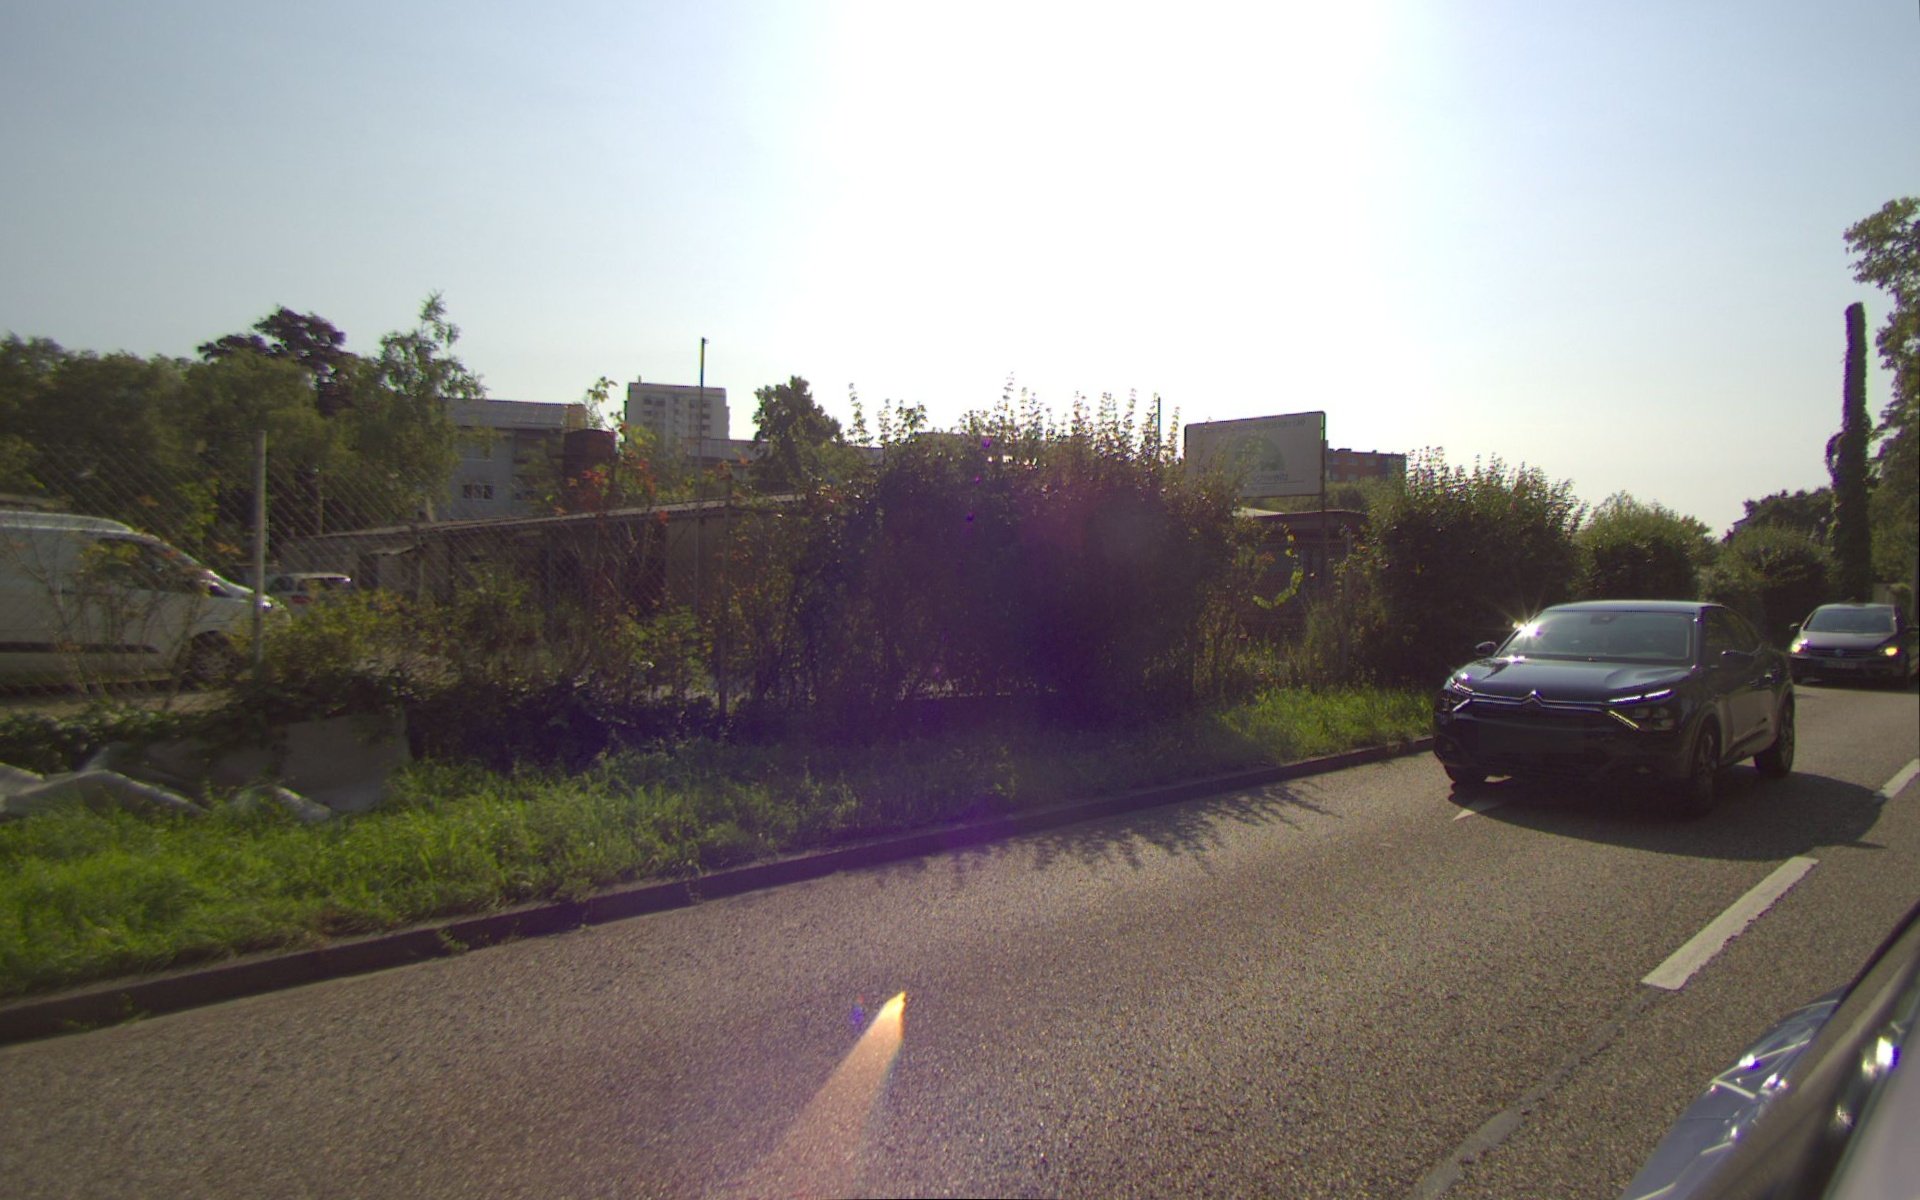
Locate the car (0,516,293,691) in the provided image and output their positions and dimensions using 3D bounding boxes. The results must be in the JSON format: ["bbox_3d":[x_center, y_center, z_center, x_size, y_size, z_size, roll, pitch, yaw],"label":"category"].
[{"bbox_3d":[-10.963,0.027,12.256,4.591,1.949,1.747,0,1,-44],"label":"car"}]

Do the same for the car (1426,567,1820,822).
[{"bbox_3d":[5.667,0.570,8.432,4.180,1.608,1.648,0,2,-41],"label":"car"}]

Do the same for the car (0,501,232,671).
[{"bbox_3d":[-13.132,-0.199,14.153,4.591,2.251,1.747,0,1,-44],"label":"car"}]

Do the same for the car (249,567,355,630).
[{"bbox_3d":[-17.996,-0.077,27.616,1.723,1.597,3.666,0,1,-45],"label":"car"}]

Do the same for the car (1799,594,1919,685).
[{"bbox_3d":[17.884,0.688,19.820,3.831,1.576,1.648,0,2,-41],"label":"car"}]
